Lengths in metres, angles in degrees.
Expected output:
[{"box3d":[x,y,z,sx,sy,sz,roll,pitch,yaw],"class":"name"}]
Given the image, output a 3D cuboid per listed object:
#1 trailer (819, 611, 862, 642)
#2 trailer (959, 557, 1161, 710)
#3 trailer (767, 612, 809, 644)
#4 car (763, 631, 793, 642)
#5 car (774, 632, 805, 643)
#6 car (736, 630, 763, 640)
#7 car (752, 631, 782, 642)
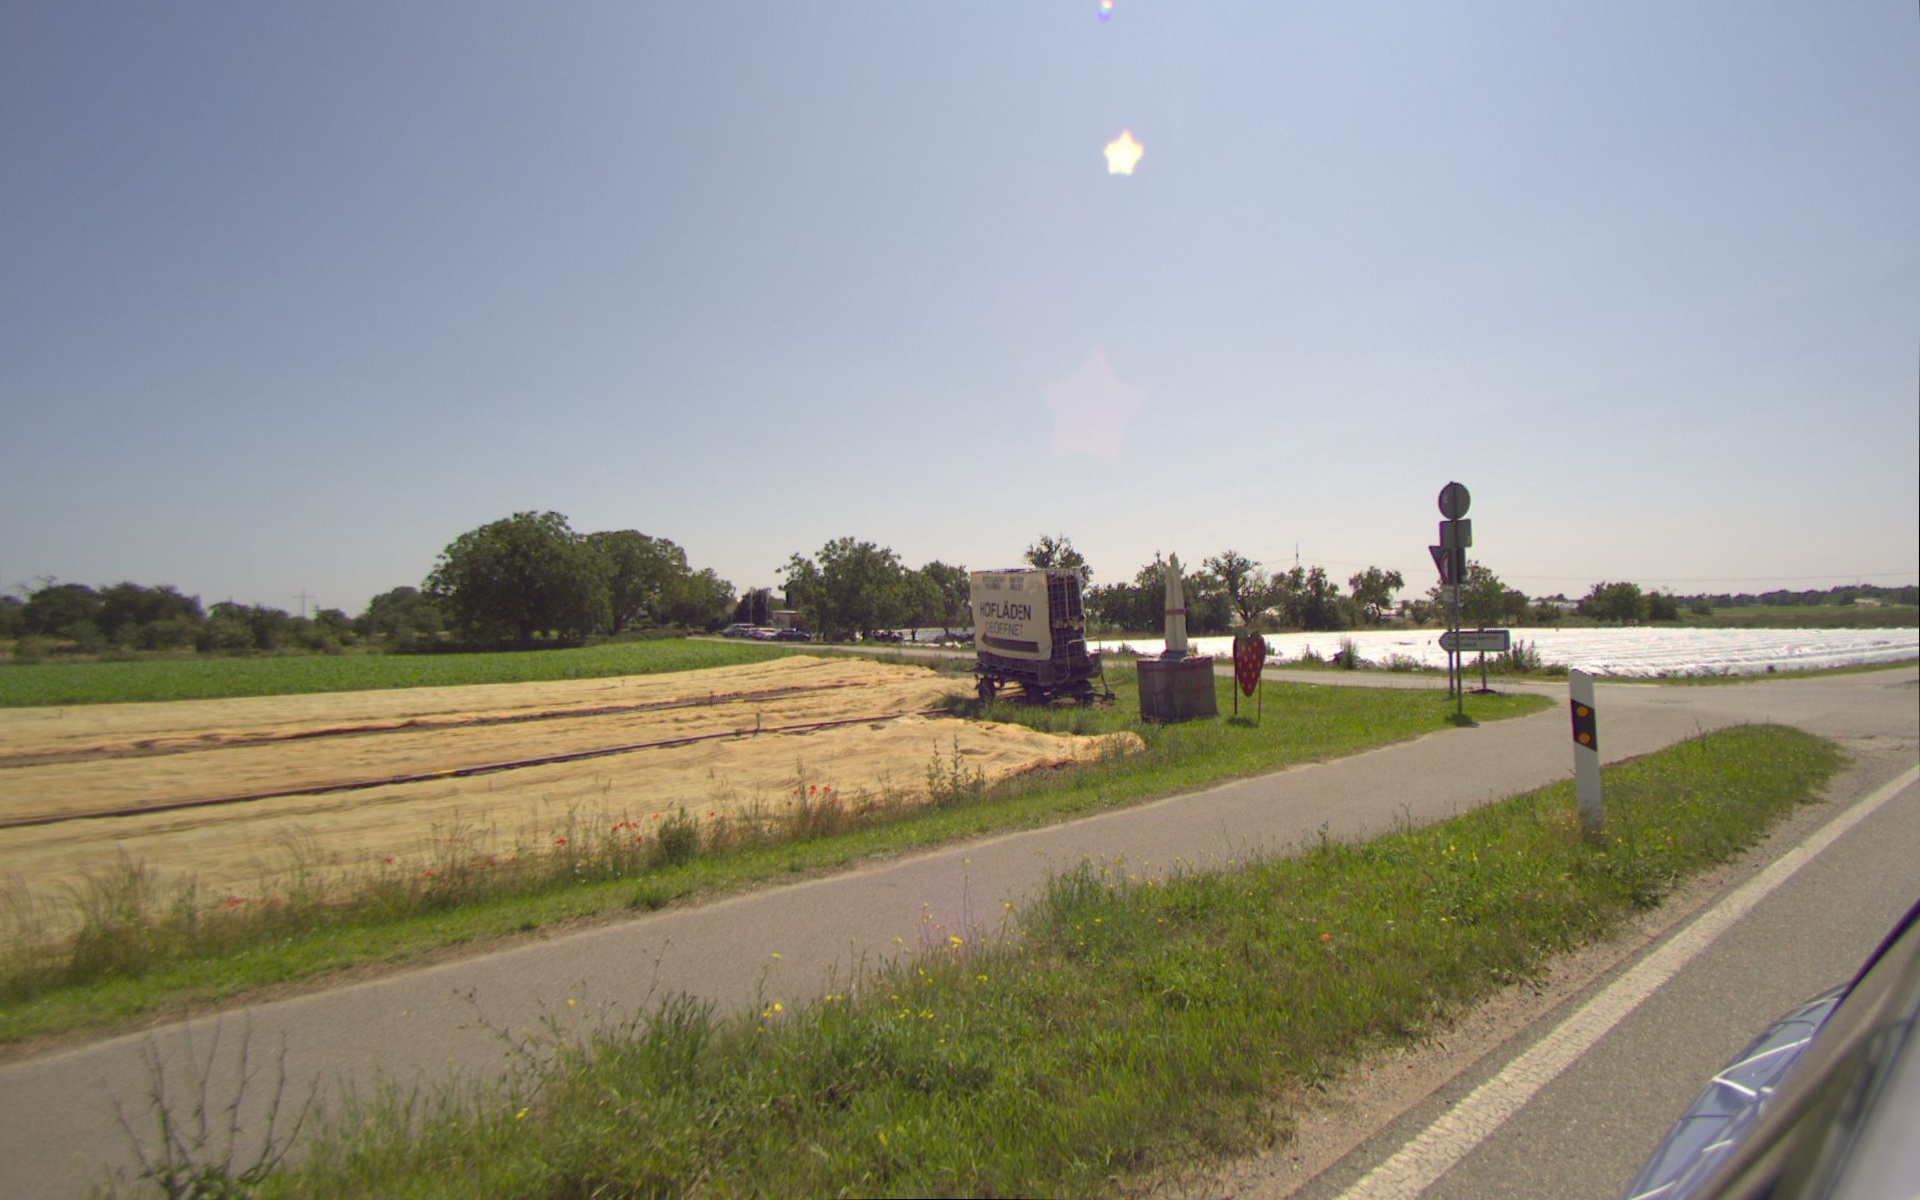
[{"box3d":[-13.940,3.077,117.409,3.191,3.336,7.453,-1,-2,-20],"class":"trailer"},{"box3d":[2.056,0.677,22.792,1.959,2.989,5.303,-2,0,-26],"class":"trailer"},{"box3d":[-24.397,3.961,143.632,3.096,4.276,7.441,-1,-2,-33],"class":"trailer"},{"box3d":[-21.222,4.286,117.883,3.214,1.213,1.297,0,-2,-30],"class":"car"},{"box3d":[-19.413,4.236,115.094,3.214,1.213,1.297,0,-2,-30],"class":"car"},{"box3d":[-27.352,4.485,131.498,3.214,1.213,1.297,0,-2,-30],"class":"car"},{"box3d":[-22.926,4.330,120.142,3.214,1.213,1.297,0,-2,-30],"class":"car"}]
